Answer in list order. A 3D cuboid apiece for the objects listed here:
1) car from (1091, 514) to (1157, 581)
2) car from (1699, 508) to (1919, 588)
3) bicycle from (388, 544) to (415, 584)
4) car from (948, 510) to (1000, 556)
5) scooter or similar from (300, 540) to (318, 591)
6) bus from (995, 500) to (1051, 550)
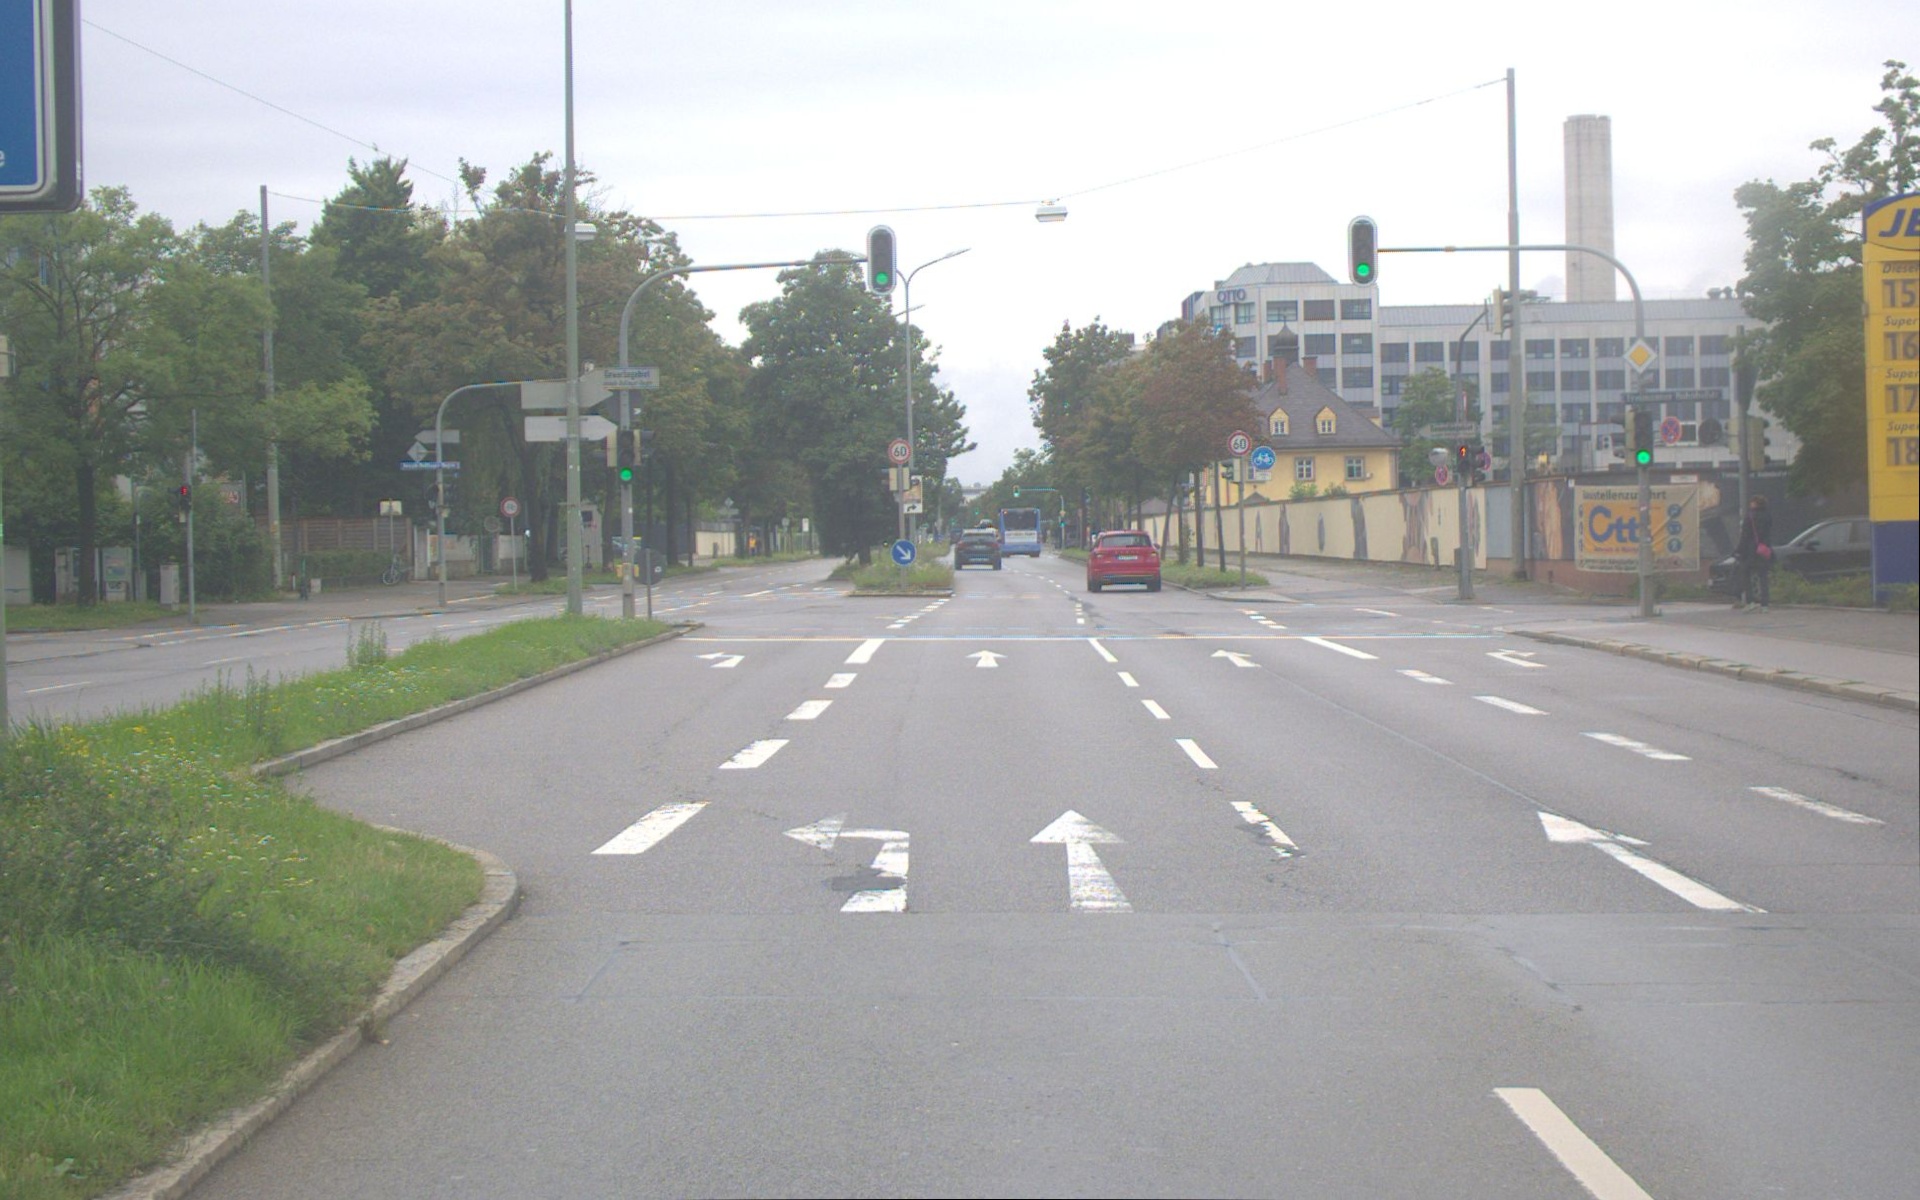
[{"bbox_3d":[4.250,-1.368,89.390,1.484,1.710,3.551,0,1,-1],"label":"car"},{"bbox_3d":[16.694,-1.014,66.798,4.251,1.423,2.000,-2,1,3],"label":"car"},{"bbox_3d":[-18.645,-1.214,114.859,0.582,1.291,2.455,0,1,-2],"label":"bicycle"},{"bbox_3d":[0.565,-2.774,142.703,2.084,1.859,4.386,0,1,-1],"label":"car"},{"bbox_3d":[-18.085,-0.965,95.518,0.370,1.419,1.406,0,1,-15],"label":"scooter or similar"},{"bbox_3d":[3.977,-4.781,220.108,3.220,3.116,10.346,0,1,-1],"label":"bus"}]
